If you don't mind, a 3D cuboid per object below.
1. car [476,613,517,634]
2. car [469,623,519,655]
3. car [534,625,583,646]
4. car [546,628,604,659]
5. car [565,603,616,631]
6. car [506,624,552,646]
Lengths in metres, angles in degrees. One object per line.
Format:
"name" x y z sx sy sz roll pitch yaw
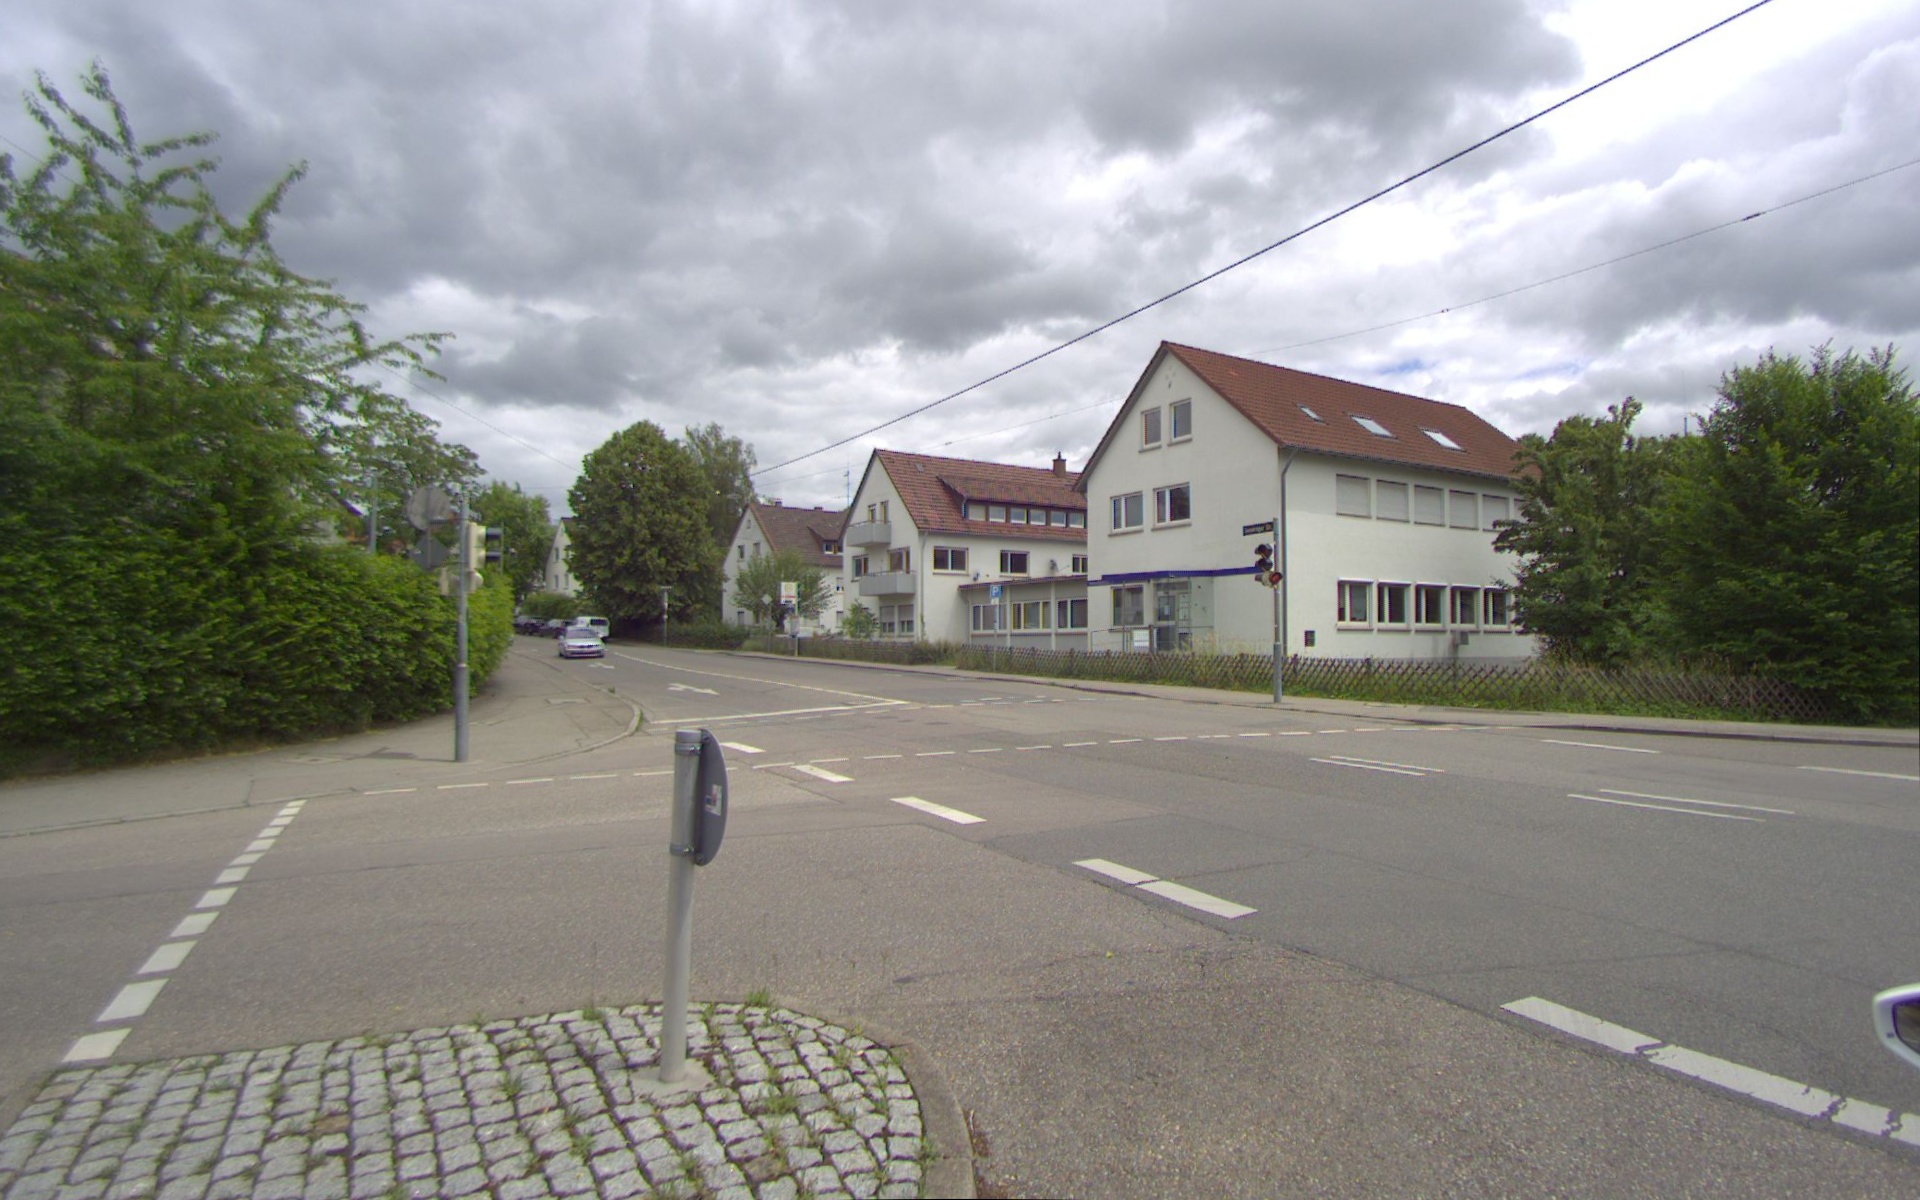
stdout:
"car" -39.303 1.960 85.200 1.804 1.636 4.482 5 -3 -42
"car" -28.223 2.319 60.759 1.838 1.737 4.527 0 0 -37
"car" -30.483 2.702 76.158 1.986 1.497 4.562 3 -2 -43
"car" -17.896 2.014 46.587 1.700 1.372 4.046 2 -3 -33
"car" -26.587 1.211 72.232 1.832 1.797 4.260 6 -3 -44
"car" -34.938 2.825 81.314 1.986 1.636 4.482 5 -3 -42
